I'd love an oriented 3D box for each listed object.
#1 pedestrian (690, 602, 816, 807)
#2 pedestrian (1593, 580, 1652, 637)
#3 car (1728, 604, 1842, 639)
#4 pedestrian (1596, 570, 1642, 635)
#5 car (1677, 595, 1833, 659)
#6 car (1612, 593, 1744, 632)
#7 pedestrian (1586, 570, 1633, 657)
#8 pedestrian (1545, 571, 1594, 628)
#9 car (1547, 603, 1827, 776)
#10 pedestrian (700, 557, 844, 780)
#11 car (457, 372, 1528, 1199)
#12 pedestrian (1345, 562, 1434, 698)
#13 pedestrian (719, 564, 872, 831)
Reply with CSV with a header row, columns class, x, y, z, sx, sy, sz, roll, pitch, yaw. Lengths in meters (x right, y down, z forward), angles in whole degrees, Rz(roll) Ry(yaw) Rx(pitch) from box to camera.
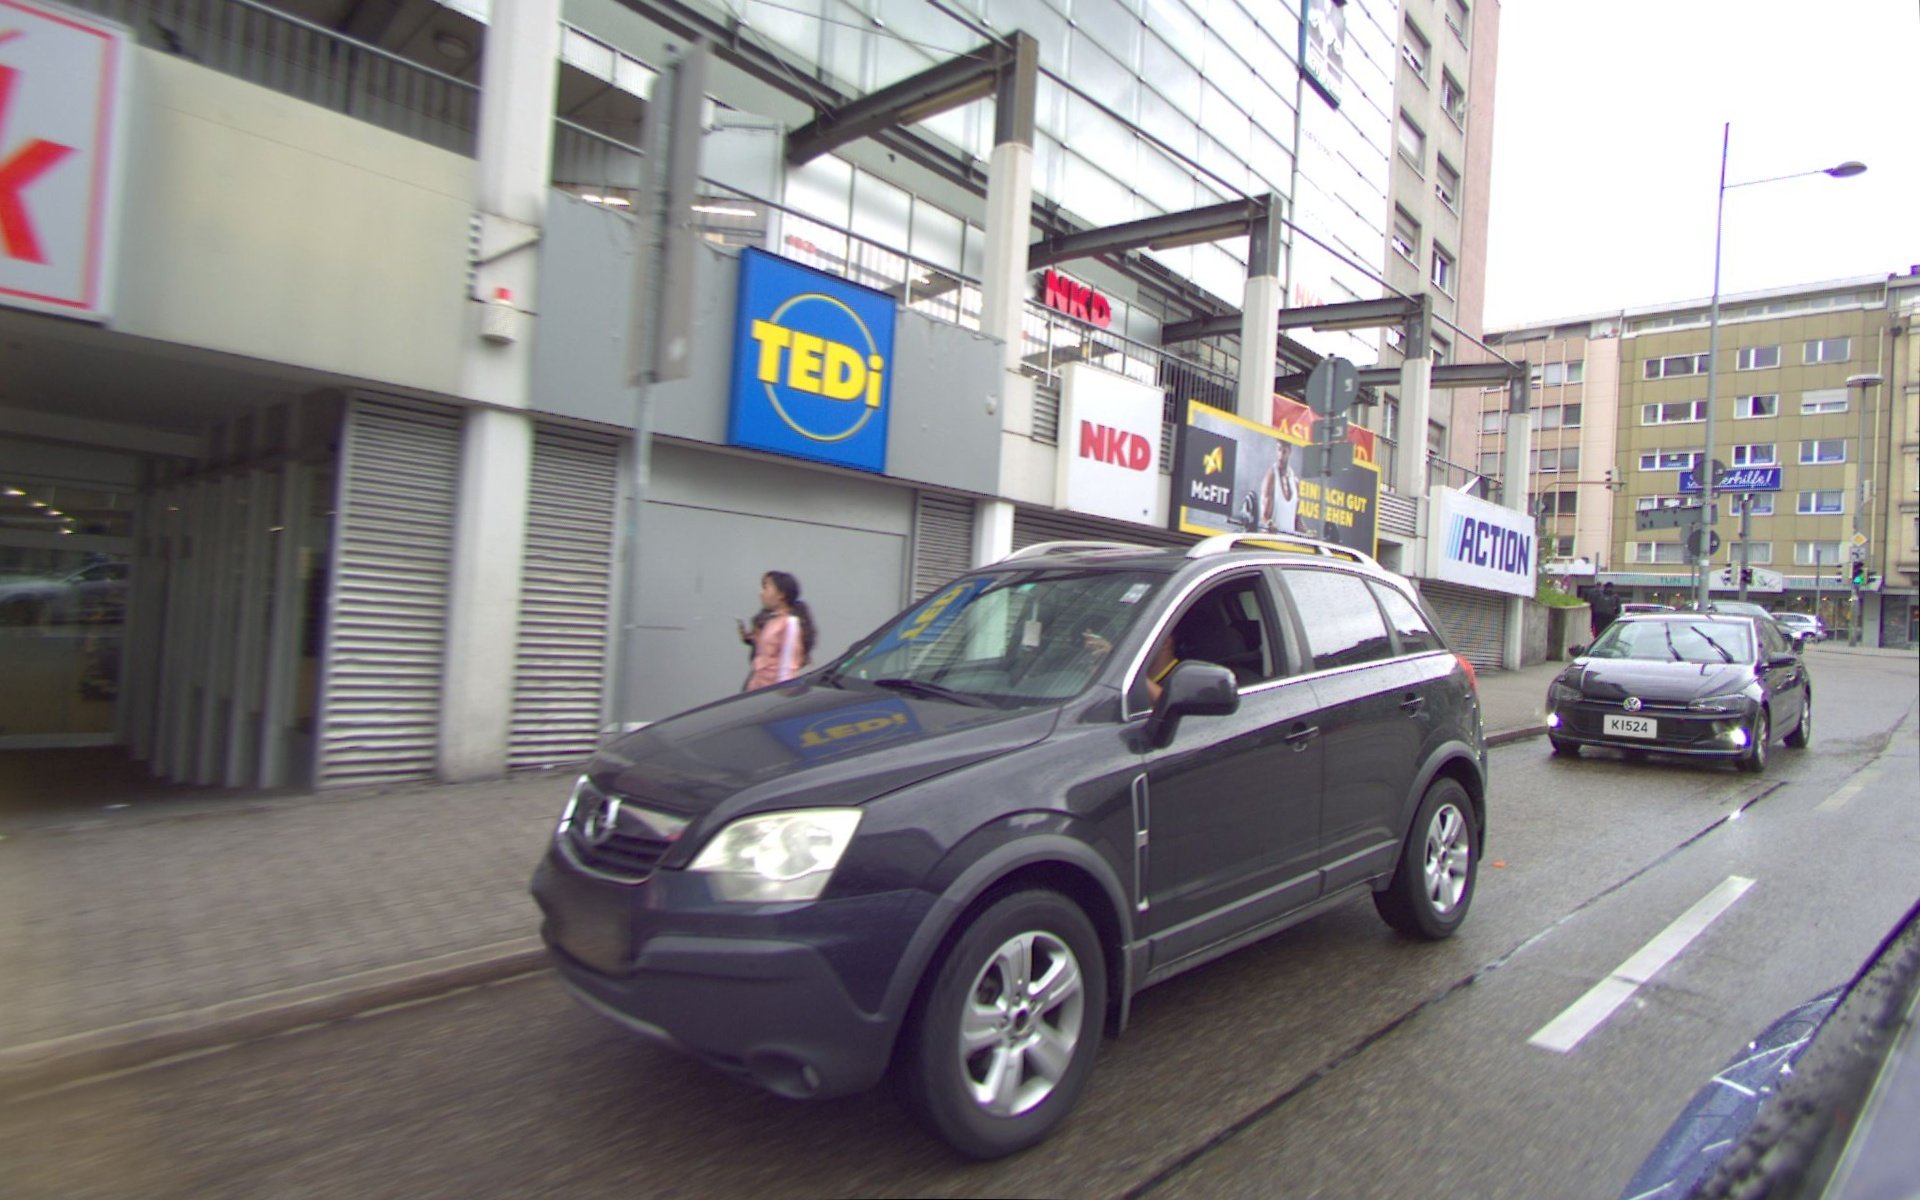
class,x,y,z,sx,sy,sz,roll,pitch,yaw
pedestrian,-1.365,0.646,6.625,0.543,1.222,0.693,2,1,-35
pedestrian,19.571,0.231,29.918,1.044,1.550,1.023,5,3,15
car,42.303,1.053,51.951,4.386,1.570,1.824,3,2,44
pedestrian,20.589,0.063,31.635,0.605,1.889,0.789,7,2,-30
car,22.254,0.685,28.550,1.845,1.566,4.087,3,1,14
car,32.304,0.540,45.600,4.617,1.433,1.769,4,0,44
pedestrian,14.239,0.295,22.179,0.599,1.863,0.996,3,1,44
pedestrian,19.781,-0.008,32.850,1.018,1.744,0.839,5,-1,-29
car,7.611,0.778,10.456,3.816,1.449,1.739,1,-1,-44
pedestrian,-1.362,0.455,7.303,0.691,1.485,0.774,2,1,-38
car,0.501,0.461,4.175,4.227,1.808,1.910,2,0,-42
pedestrian,5.755,0.375,13.565,0.606,1.744,0.839,2,1,-35
pedestrian,-1.000,0.537,6.076,0.586,1.455,0.749,2,3,-35
